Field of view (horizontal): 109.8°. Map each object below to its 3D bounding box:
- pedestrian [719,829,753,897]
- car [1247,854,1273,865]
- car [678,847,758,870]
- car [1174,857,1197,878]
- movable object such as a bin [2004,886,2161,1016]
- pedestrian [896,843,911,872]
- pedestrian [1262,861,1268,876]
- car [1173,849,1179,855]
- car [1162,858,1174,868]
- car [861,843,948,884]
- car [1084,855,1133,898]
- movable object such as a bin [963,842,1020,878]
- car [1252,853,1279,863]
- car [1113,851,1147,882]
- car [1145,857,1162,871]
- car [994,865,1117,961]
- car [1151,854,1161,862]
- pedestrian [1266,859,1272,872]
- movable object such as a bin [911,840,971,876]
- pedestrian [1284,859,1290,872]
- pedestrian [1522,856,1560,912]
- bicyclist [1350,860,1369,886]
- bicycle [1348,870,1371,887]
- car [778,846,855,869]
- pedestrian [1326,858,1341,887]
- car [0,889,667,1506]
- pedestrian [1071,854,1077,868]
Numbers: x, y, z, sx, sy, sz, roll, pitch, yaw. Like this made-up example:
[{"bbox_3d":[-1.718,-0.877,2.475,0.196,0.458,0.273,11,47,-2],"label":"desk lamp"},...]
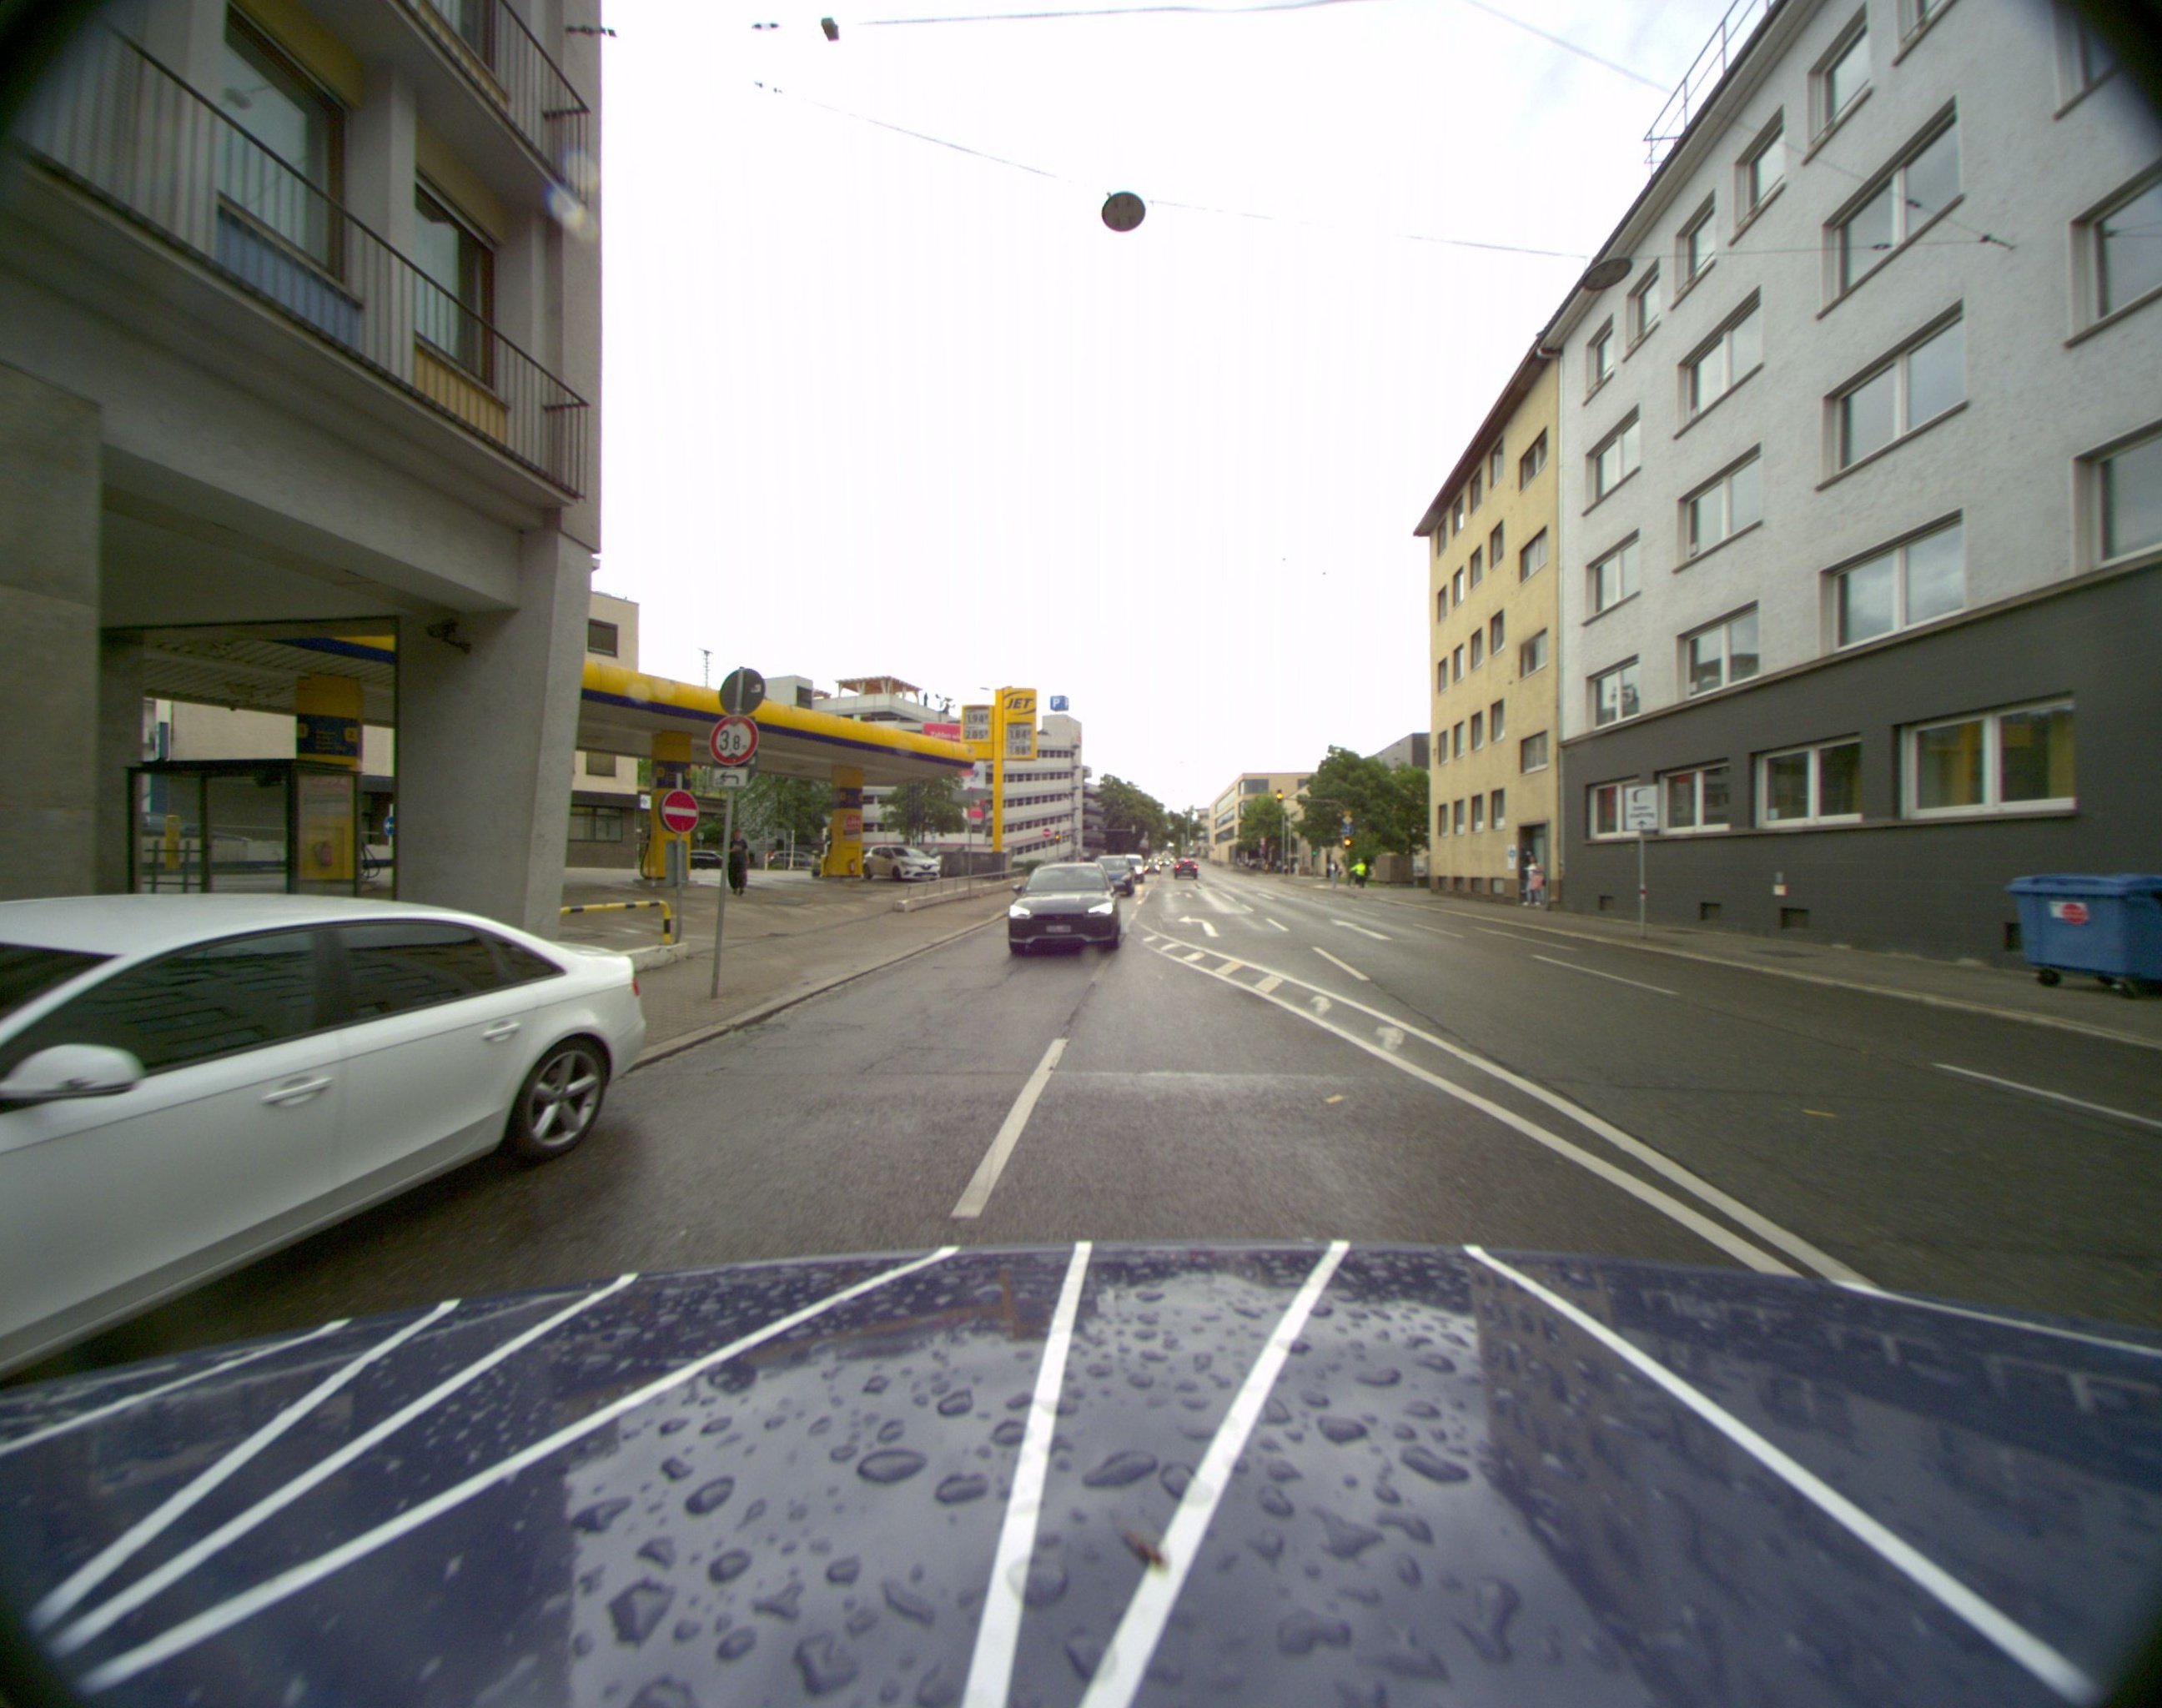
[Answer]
[{"bbox_3d":[-9.140,0.245,20.126,0.661,1.762,0.528,2,2,-36],"label":"pedestrian"},{"bbox_3d":[28.924,0.881,122.693,3.993,1.575,2.002,-1,0,11],"label":"car"},{"bbox_3d":[-27.296,0.325,57.173,5.035,1.622,2.000,-1,0,1],"label":"car"},{"bbox_3d":[8.548,1.073,62.140,1.811,1.585,4.298,1,0,8],"label":"car"},{"bbox_3d":[11.638,1.042,8.545,1.078,1.316,1.191,-1,0,7],"label":"movable object such as a bin"},{"bbox_3d":[-9.481,0.175,40.579,0.576,1.506,0.478,-1,0,-34],"label":"pedestrian"},{"bbox_3d":[21.166,1.661,87.567,0.595,1.761,0.692,-1,0,6],"label":"pedestrian"},{"bbox_3d":[28.398,-0.593,227.058,1.674,1.461,4.302,3,0,5],"label":"car"},{"bbox_3d":[15.955,1.687,139.597,1.998,1.772,4.001,-1,0,4],"label":"car"},{"bbox_3d":[-7.147,0.354,30.526,1.750,1.434,3.987,2,1,-40],"label":"car"},{"bbox_3d":[1.175,0.868,30.745,1.845,1.646,4.001,0,0,3],"label":"car"},{"bbox_3d":[-3.999,0.263,34.149,2.159,1.565,1.774,1,0,7],"label":"movable object such as a bin"},{"bbox_3d":[29.163,0.657,120.188,3.993,1.575,2.002,-1,0,11],"label":"car"},{"bbox_3d":[3.151,0.791,48.492,1.804,1.817,3.952,-1,-1,8],"label":"car"},{"bbox_3d":[8.534,1.132,89.089,1.804,1.561,3.952,-1,-1,8],"label":"car"},{"bbox_3d":[-0.276,0.925,13.717,1.738,1.380,4.584,-1,0,4],"label":"car"},{"bbox_3d":[15.784,0.839,160.022,1.998,1.772,4.001,-1,0,4],"label":"car"},{"bbox_3d":[21.913,1.379,88.662,0.595,1.507,0.692,-1,0,6],"label":"pedestrian"},{"bbox_3d":[-6.299,0.175,34.374,2.159,1.546,1.774,2,0,7],"label":"movable object such as a bin"},{"bbox_3d":[23.188,1.286,85.454,0.622,1.368,0.475,-1,0,7],"label":"pedestrian"},{"bbox_3d":[13.962,0.893,23.067,0.718,1.679,0.811,-1,0,8],"label":"pedestrian"},{"bbox_3d":[15.758,1.083,42.935,0.844,1.433,0.813,-1,0,9],"label":"bicyclist"},{"bbox_3d":[15.711,1.400,42.938,0.887,0.902,1.868,-1,0,9],"label":"bicycle"},{"bbox_3d":[-19.721,0.279,56.742,5.035,1.622,2.000,-1,0,1],"label":"car"},{"bbox_3d":[14.823,1.077,44.600,0.718,1.679,0.811,-1,0,8],"label":"pedestrian"},{"bbox_3d":[-3.806,1.006,2.589,1.897,1.394,4.610,5,0,4],"label":"car"},{"bbox_3d":[-0.855,0.881,93.311,0.583,1.650,0.519,4,2,23],"label":"pedestrian"}]
